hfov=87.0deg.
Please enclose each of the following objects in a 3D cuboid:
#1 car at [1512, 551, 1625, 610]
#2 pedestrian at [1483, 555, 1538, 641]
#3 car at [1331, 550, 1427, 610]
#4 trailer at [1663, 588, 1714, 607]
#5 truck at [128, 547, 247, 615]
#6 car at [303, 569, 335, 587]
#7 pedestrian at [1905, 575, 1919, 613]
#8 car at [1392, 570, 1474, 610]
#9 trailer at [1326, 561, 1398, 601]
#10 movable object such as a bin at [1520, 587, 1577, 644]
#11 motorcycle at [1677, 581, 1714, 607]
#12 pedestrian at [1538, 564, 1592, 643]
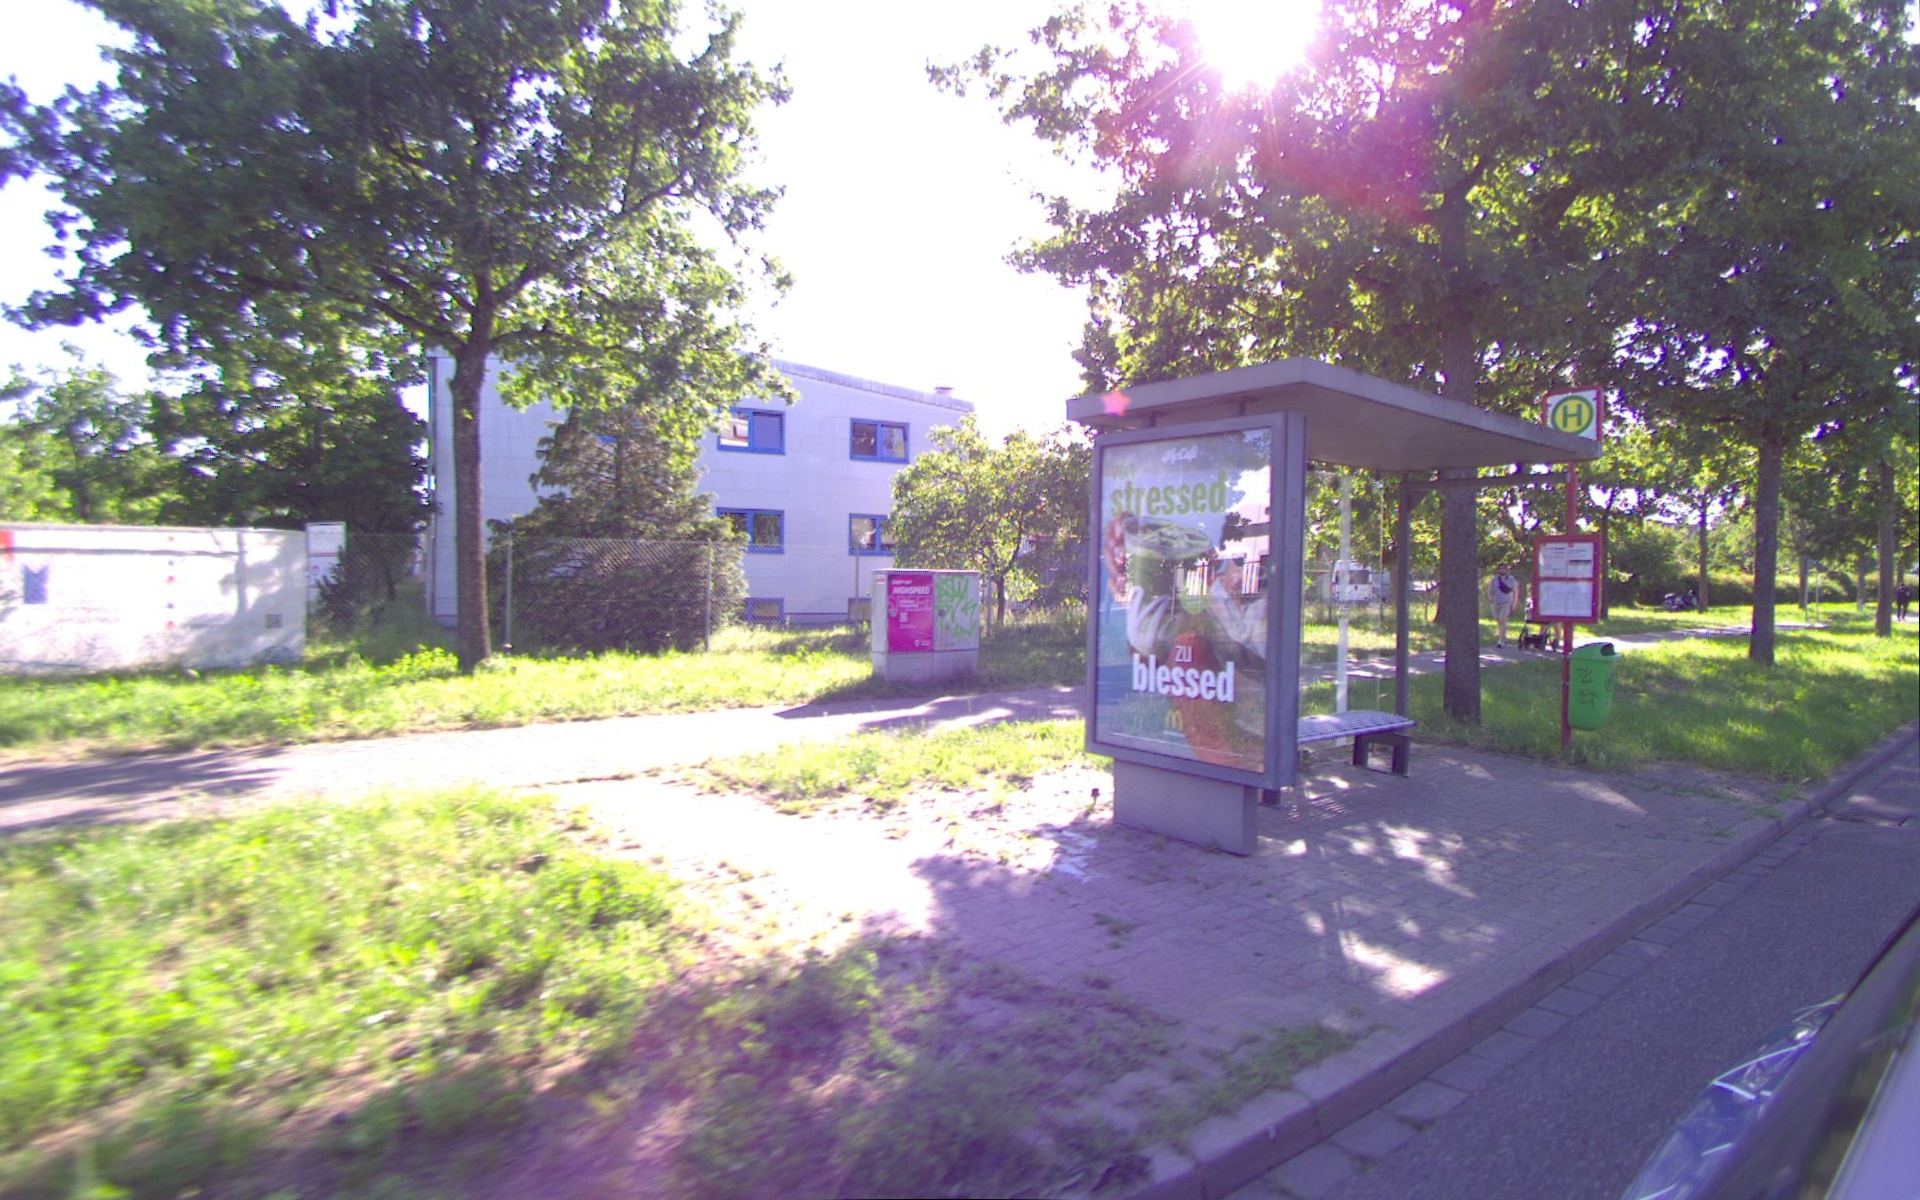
[{"bbox_3d":[30.519,-0.929,50.705,5.849,2.599,2.094,3,-2,-28],"label":"car"},{"bbox_3d":[11.653,-0.062,21.425,0.852,1.777,0.727,0,1,-40],"label":"pedestrian"},{"bbox_3d":[19.577,-0.946,47.195,4.764,2.676,2.165,-1,2,-40],"label":"car"},{"bbox_3d":[40.950,-0.175,56.883,2.013,0.878,1.586,-5,4,-27],"label":"trailer"},{"bbox_3d":[-26.734,-0.704,35.233,1.959,2.138,5.165,-2,2,-23],"label":"truck"},{"bbox_3d":[-53.323,-1.856,84.221,1.902,1.497,4.522,0,1,-28],"label":"car"},{"bbox_3d":[45.777,-0.290,48.380,0.852,1.835,0.727,-1,2,-40],"label":"pedestrian"},{"bbox_3d":[21.026,-0.466,44.963,3.533,1.685,2.010,-1,2,-40],"label":"car"},{"bbox_3d":[24.386,-1.173,61.412,3.712,2.336,2.200,0,2,-27],"label":"trailer"},{"bbox_3d":[12.123,0.306,20.857,0.852,1.094,0.727,0,3,-40],"label":"movable object such as a bin"},{"bbox_3d":[39.987,-0.325,55.023,2.359,1.246,0.666,-5,4,-28],"label":"motorcycle"},{"bbox_3d":[12.797,0.060,21.397,0.852,1.623,0.727,0,1,-40],"label":"pedestrian"}]
